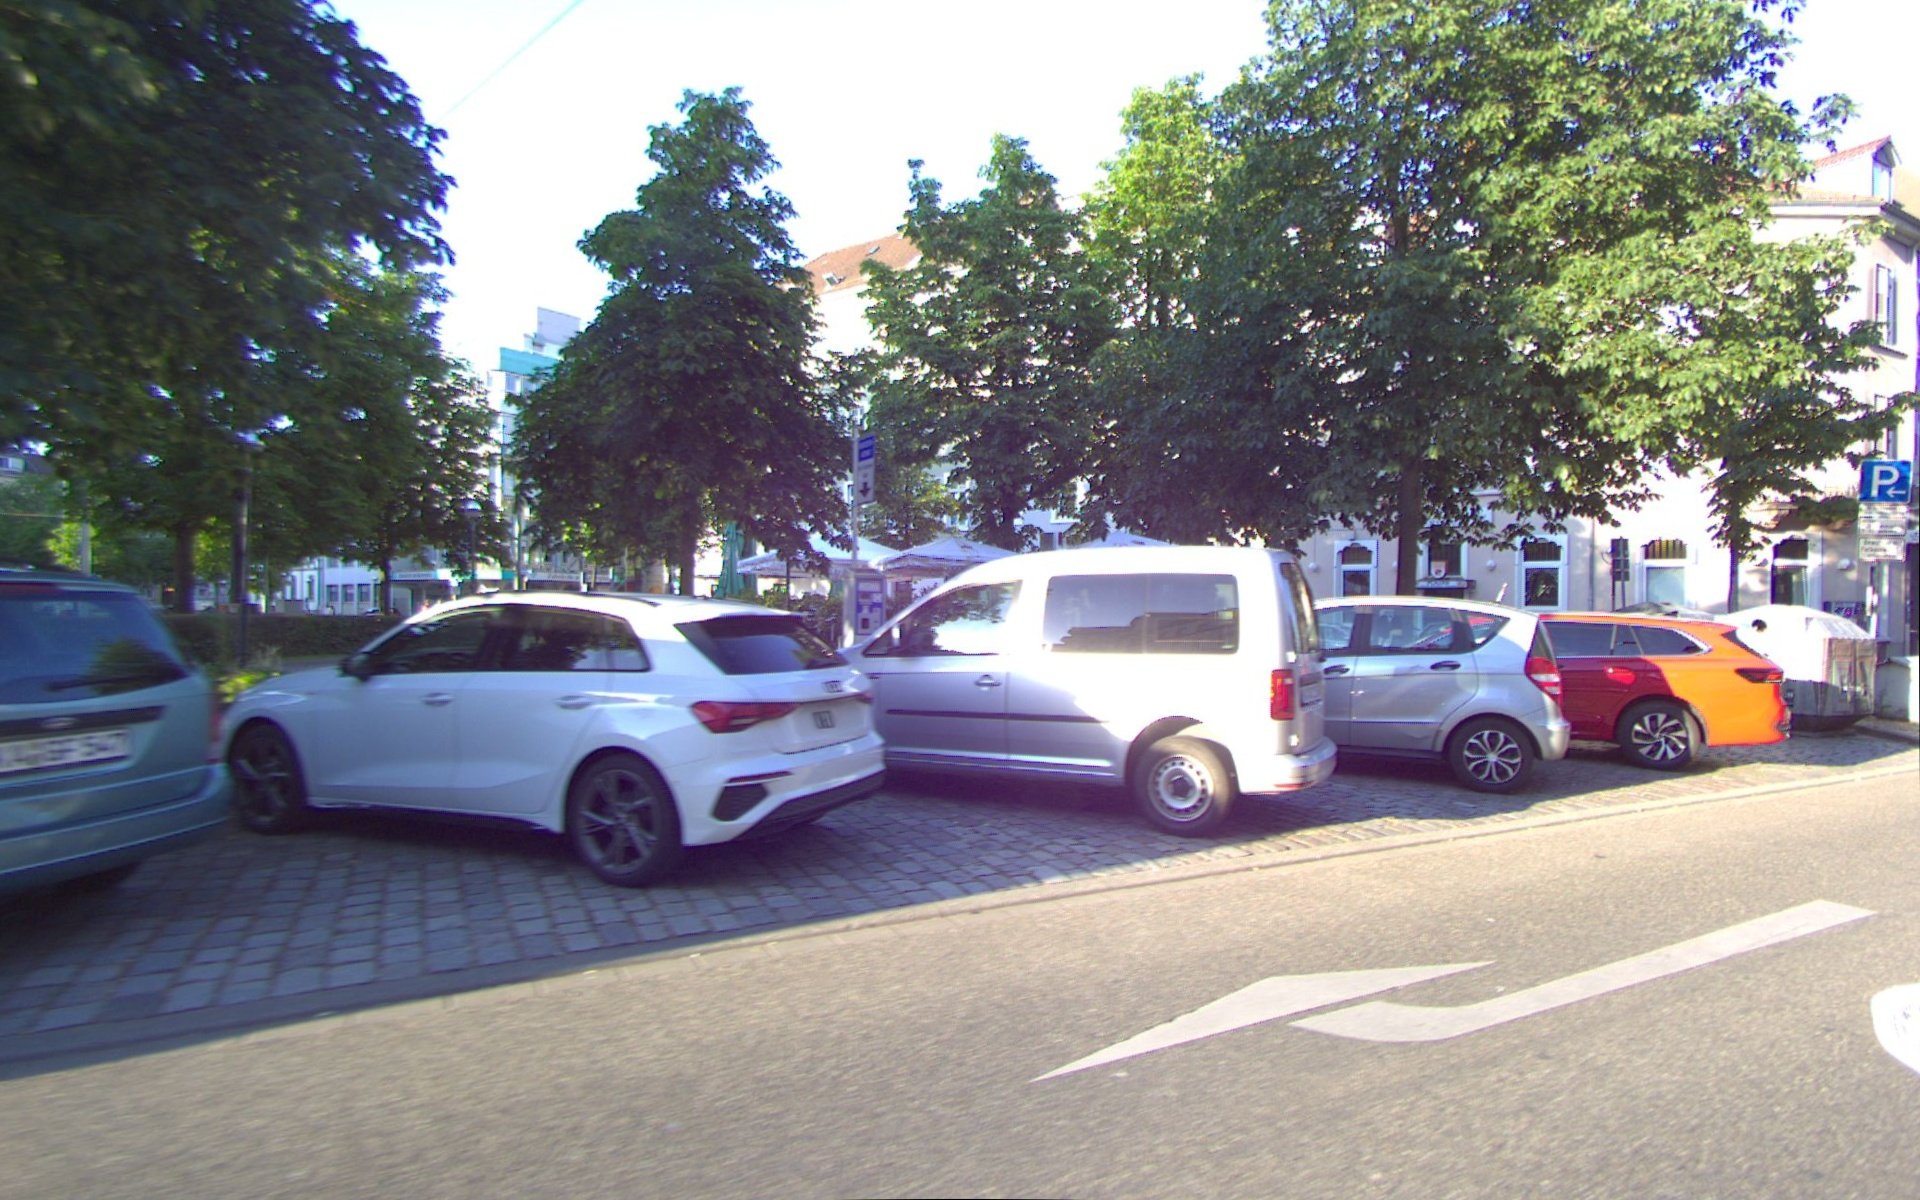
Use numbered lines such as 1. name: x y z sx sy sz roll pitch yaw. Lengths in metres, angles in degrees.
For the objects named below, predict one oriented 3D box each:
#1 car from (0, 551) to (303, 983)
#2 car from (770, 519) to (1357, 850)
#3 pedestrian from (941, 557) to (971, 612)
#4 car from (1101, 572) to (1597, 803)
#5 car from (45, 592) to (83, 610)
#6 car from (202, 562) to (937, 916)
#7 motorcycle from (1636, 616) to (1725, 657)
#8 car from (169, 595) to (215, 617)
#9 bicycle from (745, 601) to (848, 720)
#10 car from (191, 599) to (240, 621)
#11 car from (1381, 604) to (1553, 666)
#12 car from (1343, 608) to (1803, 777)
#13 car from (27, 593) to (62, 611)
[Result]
1. car: -5.126 0.542 4.193 3.920 1.487 1.883 1 1 16
2. car: 0.768 0.453 7.459 3.924 1.903 1.869 1 1 25
3. pedestrian: -0.089 -0.345 23.210 0.519 1.232 0.533 0 -1 -22
4. car: 3.491 0.658 9.403 3.924 1.719 1.748 2 1 25
5. car: -86.056 0.075 96.439 3.936 1.706 1.992 1 1 37
6. car: -2.314 0.587 6.035 3.923 1.512 1.849 2 0 23
7. motorcycle: 19.702 0.980 27.521 0.733 1.044 2.096 1 1 -8
8. car: -62.350 0.510 81.499 3.936 1.728 1.992 0 -1 37
9. bicycle: -1.883 0.642 11.389 0.393 1.235 1.618 0 1 -39
10. car: -57.820 0.771 77.984 3.936 1.639 1.992 2 0 37
11. car: 15.130 0.981 30.051 4.359 1.699 1.954 1 0 35
12. car: 6.416 0.859 10.962 3.928 1.505 1.997 0 0 29
13. car: -92.126 0.190 101.063 3.936 1.795 1.992 1 1 37
